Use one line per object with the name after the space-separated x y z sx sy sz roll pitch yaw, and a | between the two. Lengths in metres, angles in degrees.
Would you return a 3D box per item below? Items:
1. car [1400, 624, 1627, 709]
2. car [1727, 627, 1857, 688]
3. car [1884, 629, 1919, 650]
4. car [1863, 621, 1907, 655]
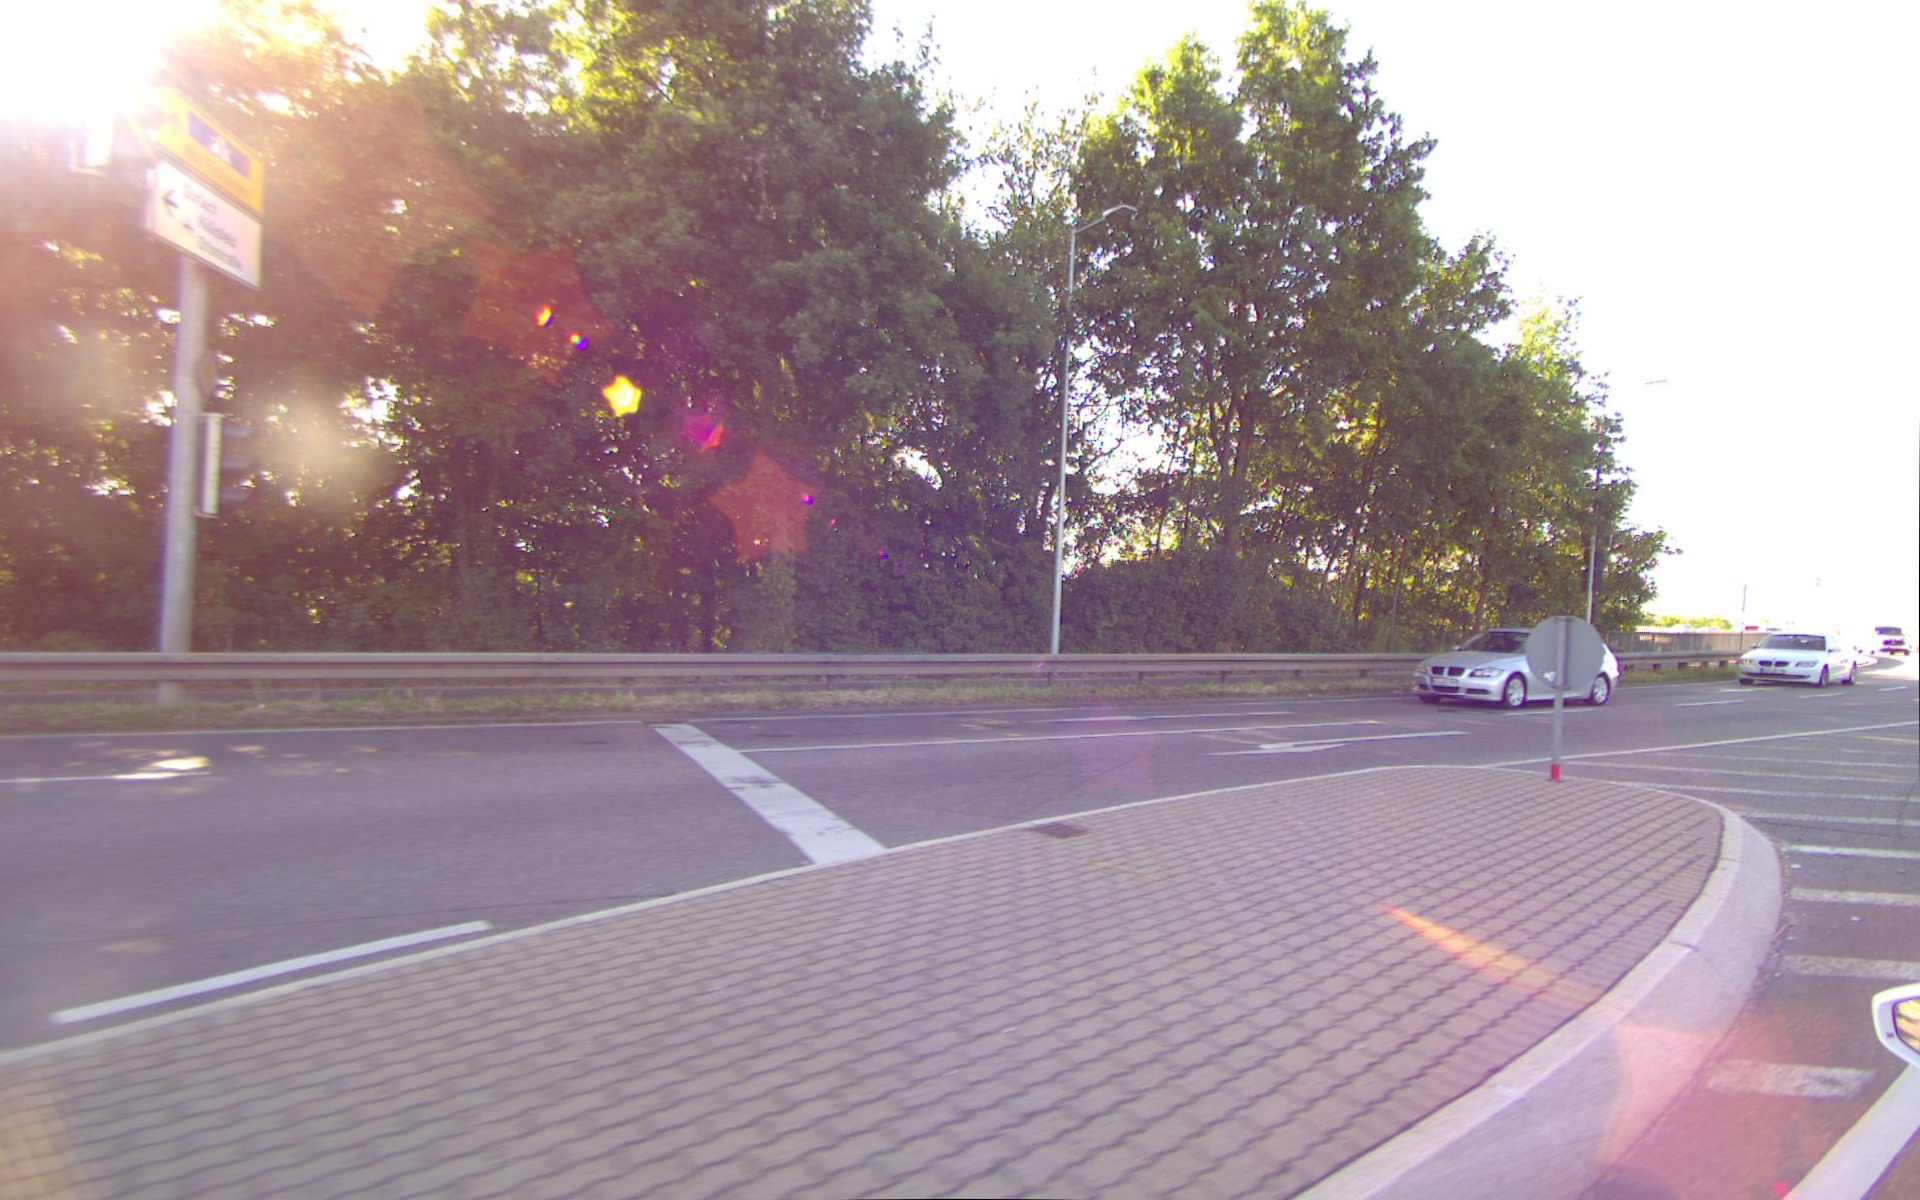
10.269 1.185 18.538 4.476 1.408 1.692 2 -2 -31 | car
23.139 1.557 27.873 4.588 1.507 1.833 2 -1 -38 | car
75.284 3.143 79.642 1.806 1.576 3.890 2 0 25 | car
62.256 2.506 67.676 1.926 2.140 5.245 1 0 40 | car
